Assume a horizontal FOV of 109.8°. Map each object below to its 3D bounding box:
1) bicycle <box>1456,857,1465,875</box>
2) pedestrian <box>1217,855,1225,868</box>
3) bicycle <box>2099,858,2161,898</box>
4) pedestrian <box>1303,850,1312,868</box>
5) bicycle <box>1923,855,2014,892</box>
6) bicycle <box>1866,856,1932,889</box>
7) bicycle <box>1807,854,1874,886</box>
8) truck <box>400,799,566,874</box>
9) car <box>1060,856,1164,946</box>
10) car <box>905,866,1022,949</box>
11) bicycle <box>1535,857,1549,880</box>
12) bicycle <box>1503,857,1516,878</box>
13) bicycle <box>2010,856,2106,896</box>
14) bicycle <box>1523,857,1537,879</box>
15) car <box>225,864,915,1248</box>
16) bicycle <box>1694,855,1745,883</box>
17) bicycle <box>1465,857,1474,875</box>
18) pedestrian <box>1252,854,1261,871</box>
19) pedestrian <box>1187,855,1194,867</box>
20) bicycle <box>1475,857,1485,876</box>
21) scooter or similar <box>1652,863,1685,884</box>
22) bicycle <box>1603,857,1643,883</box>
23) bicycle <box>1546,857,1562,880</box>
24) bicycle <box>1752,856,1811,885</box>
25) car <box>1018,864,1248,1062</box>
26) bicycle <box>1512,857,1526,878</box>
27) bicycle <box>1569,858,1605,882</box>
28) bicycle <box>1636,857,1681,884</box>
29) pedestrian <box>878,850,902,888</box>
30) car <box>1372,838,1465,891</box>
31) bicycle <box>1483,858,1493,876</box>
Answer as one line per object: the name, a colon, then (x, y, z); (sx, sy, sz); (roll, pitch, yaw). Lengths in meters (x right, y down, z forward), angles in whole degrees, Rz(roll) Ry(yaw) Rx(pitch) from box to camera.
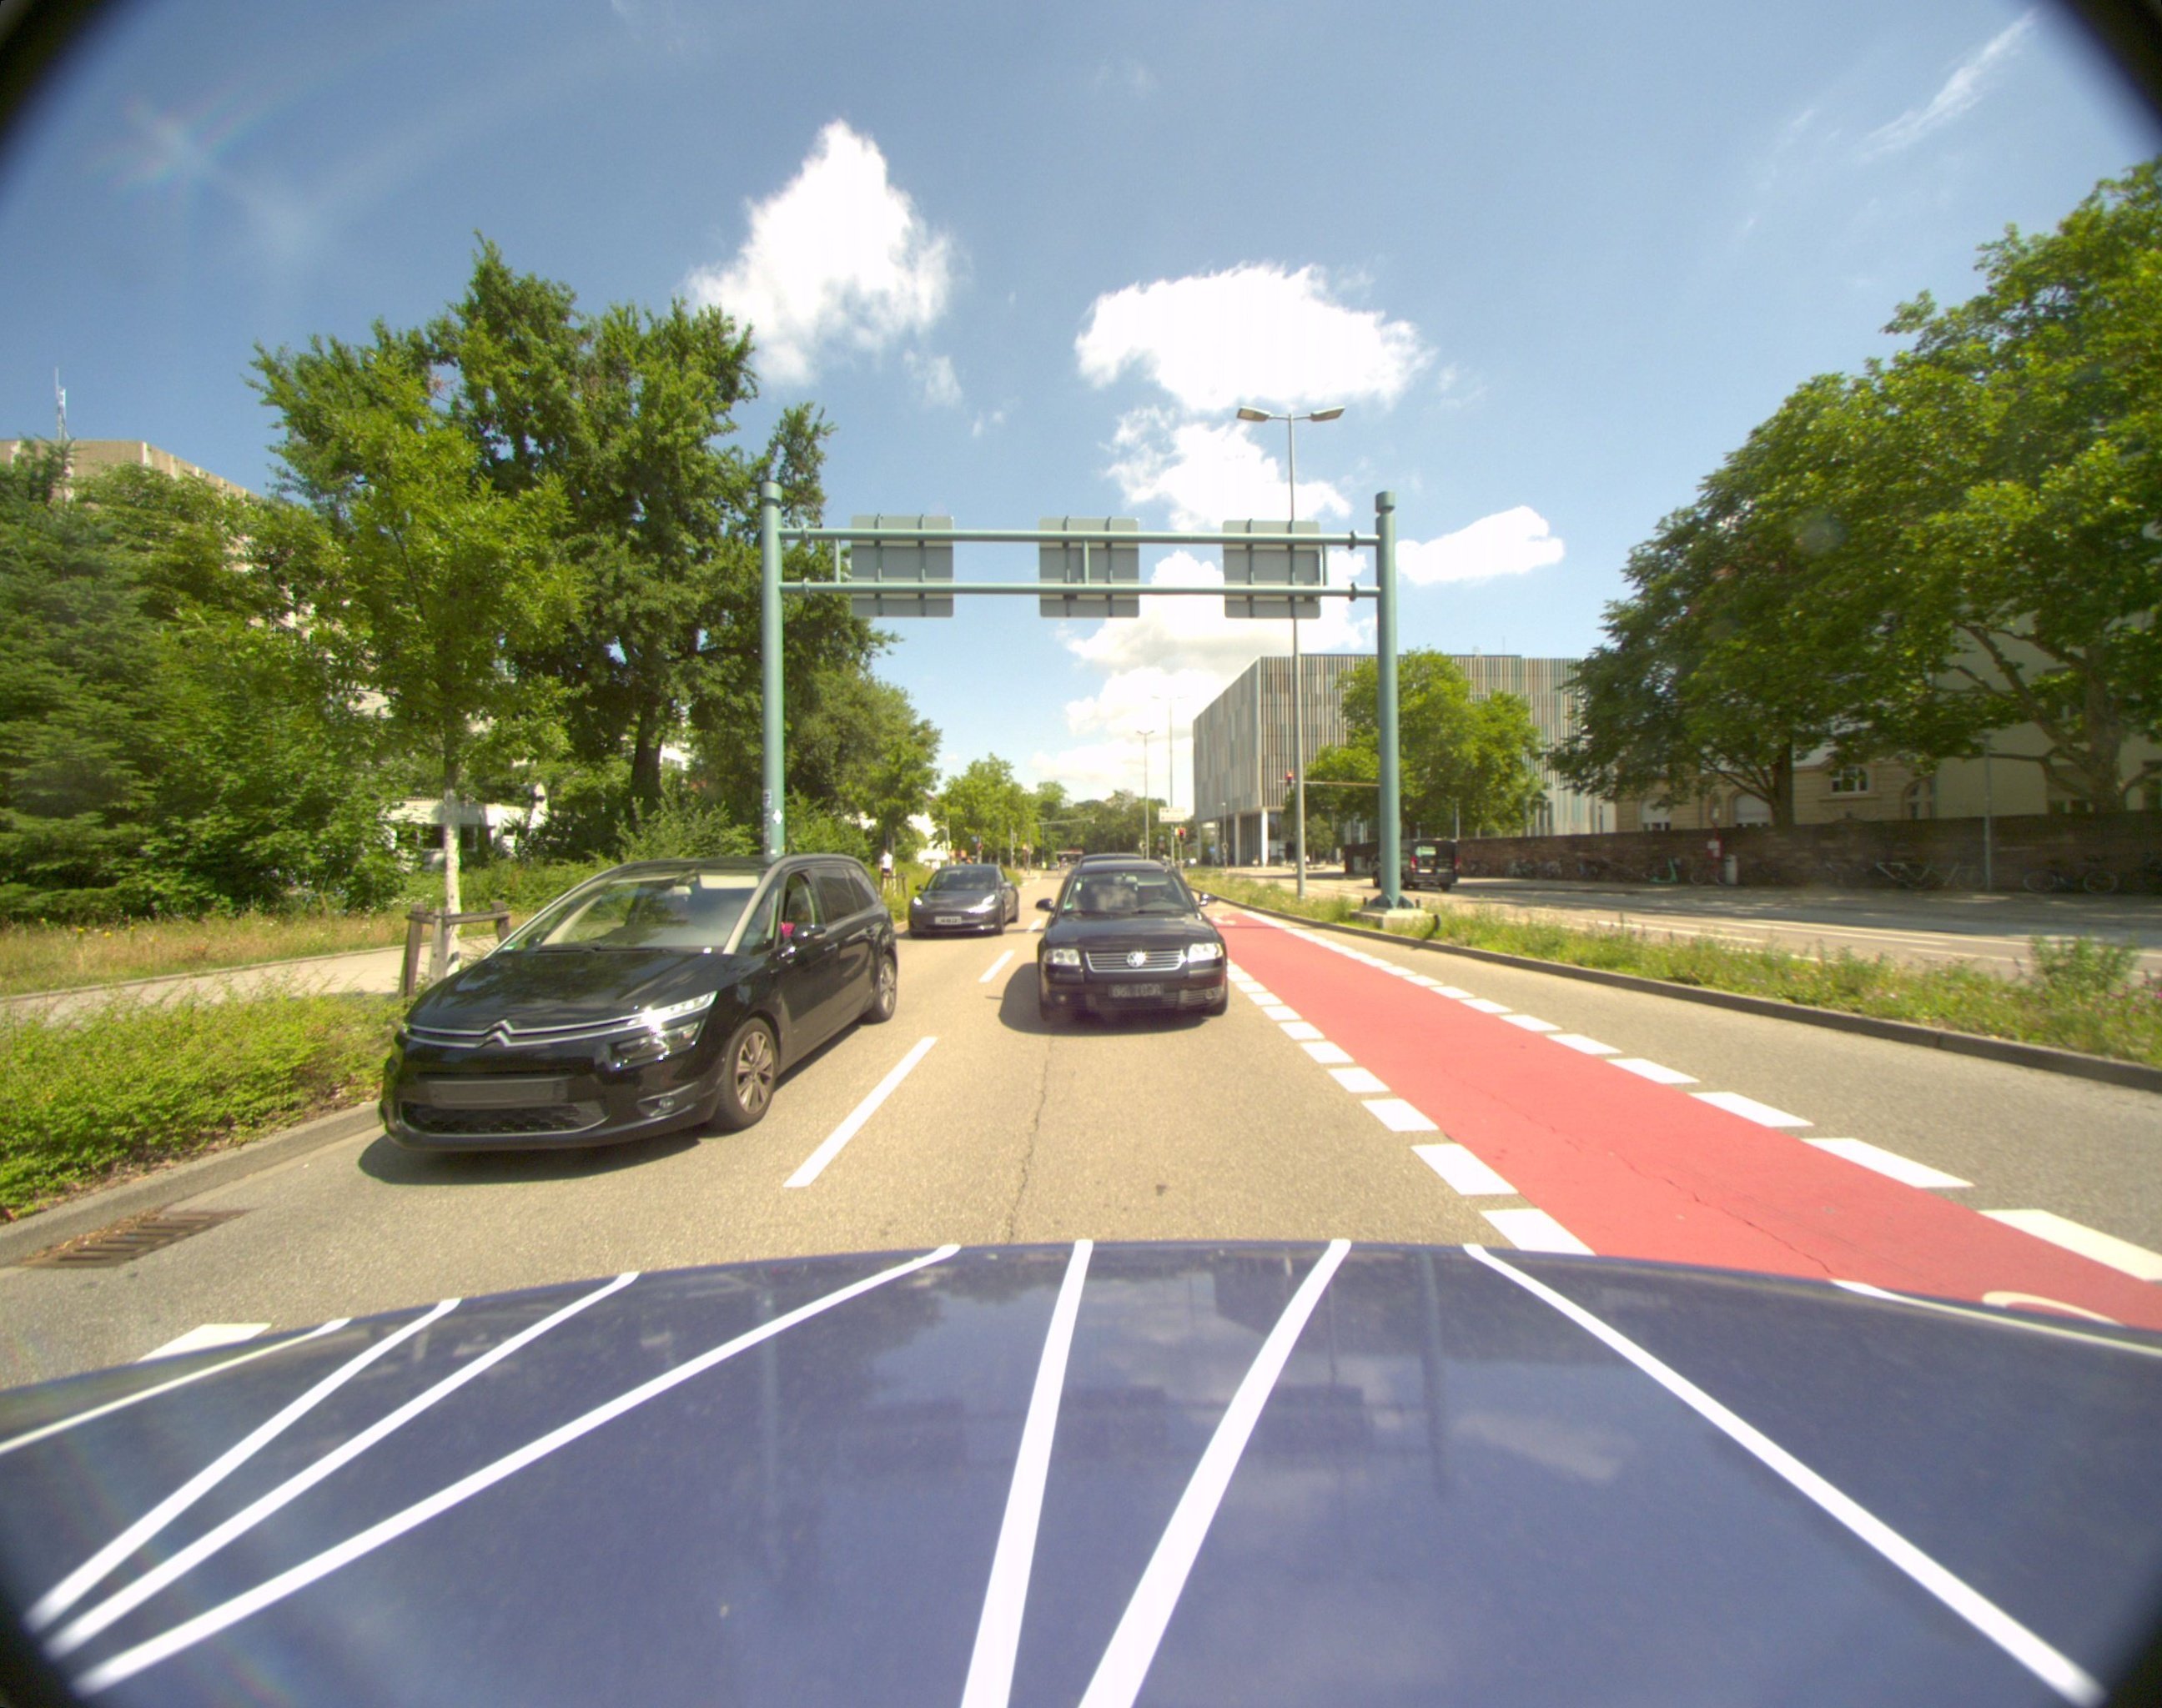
bicycle: (22.490, 0.703, 44.998); (0.329, 1.012, 1.673); (-1, 0, 22)
pedestrian: (20.001, 1.055, 108.718); (0.825, 1.906, 0.807); (-2, 1, -5)
bicycle: (27.103, 0.592, 19.116); (0.398, 0.997, 1.759); (-1, 0, -13)
pedestrian: (23.487, 0.502, 78.762); (0.632, 1.907, 0.718); (-2, 1, -2)
bicycle: (26.283, 0.551, 22.542); (0.398, 1.037, 1.759); (-1, 0, -13)
bicycle: (25.920, 0.572, 24.106); (0.377, 1.037, 1.415); (-1, 0, -13)
bicycle: (25.599, 0.525, 25.651); (0.383, 1.037, 1.668); (-1, 0, -11)
truck: (-26.855, -0.738, 34.629); (2.098, 3.005, 7.122); (-2, 1, -3)
car: (0.619, 0.836, 15.663); (1.751, 1.495, 4.521); (-3, 0, 2)
car: (-2.360, 1.034, 16.369); (1.765, 1.409, 4.363); (-3, 0, 0)
bicycle: (23.303, 0.717, 38.421); (0.382, 1.101, 1.673); (-1, 0, 22)
bicycle: (22.855, 0.714, 40.541); (0.382, 1.101, 1.673); (-1, 0, 22)
bicycle: (26.705, 0.576, 20.805); (0.398, 1.037, 1.582); (-1, 0, -13)
bicycle: (23.210, 0.714, 39.283); (0.382, 1.101, 1.673); (-1, 0, 22)
car: (-2.808, 0.949, 5.672); (1.862, 1.613, 4.521); (-3, 0, 3)
bicycle: (24.869, 0.571, 29.624); (0.383, 1.037, 1.668); (-1, 0, -11)
bicycle: (22.616, 0.706, 44.266); (0.329, 1.012, 1.673); (-1, 0, 22)
pedestrian: (19.960, 1.005, 86.595); (0.715, 1.906, 0.807); (-2, 1, -5)
pedestrian: (16.813, 1.090, 116.626); (0.715, 1.906, 0.807); (-2, 1, -5)
bicycle: (22.738, 0.714, 43.336); (0.329, 1.012, 1.673); (-1, 0, 22)
scooter or similar: (23.921, 0.775, 30.960); (0.353, 0.838, 1.068); (-1, 0, -12)
bicycle: (24.127, 0.703, 33.862); (0.383, 1.101, 1.669); (-1, 0, -10)
bicycle: (23.432, 0.720, 37.663); (0.382, 1.101, 1.673); (-1, 0, 22)
bicycle: (25.255, 0.578, 27.432); (0.383, 1.037, 1.668); (-1, 0, -11)
car: (0.482, 0.894, 8.278); (1.751, 1.426, 4.520); (-3, 0, 2)
bicycle: (23.111, 0.709, 40.100); (0.382, 1.101, 1.673); (-1, 0, 22)
bicycle: (23.883, 0.734, 35.879); (0.382, 1.101, 1.669); (-1, 0, -8)
bicycle: (24.428, 0.667, 32.187); (0.383, 1.101, 1.668); (-1, 0, -11)
pedestrian: (-9.164, 0.727, 36.530); (0.844, 1.755, 0.841); (-2, 1, 1)
car: (14.841, 0.435, 33.740); (2.214, 2.158, 4.521); (0, 0, 2)
bicycle: (22.837, 0.725, 42.622); (0.329, 1.012, 1.673); (-1, 0, 22)
